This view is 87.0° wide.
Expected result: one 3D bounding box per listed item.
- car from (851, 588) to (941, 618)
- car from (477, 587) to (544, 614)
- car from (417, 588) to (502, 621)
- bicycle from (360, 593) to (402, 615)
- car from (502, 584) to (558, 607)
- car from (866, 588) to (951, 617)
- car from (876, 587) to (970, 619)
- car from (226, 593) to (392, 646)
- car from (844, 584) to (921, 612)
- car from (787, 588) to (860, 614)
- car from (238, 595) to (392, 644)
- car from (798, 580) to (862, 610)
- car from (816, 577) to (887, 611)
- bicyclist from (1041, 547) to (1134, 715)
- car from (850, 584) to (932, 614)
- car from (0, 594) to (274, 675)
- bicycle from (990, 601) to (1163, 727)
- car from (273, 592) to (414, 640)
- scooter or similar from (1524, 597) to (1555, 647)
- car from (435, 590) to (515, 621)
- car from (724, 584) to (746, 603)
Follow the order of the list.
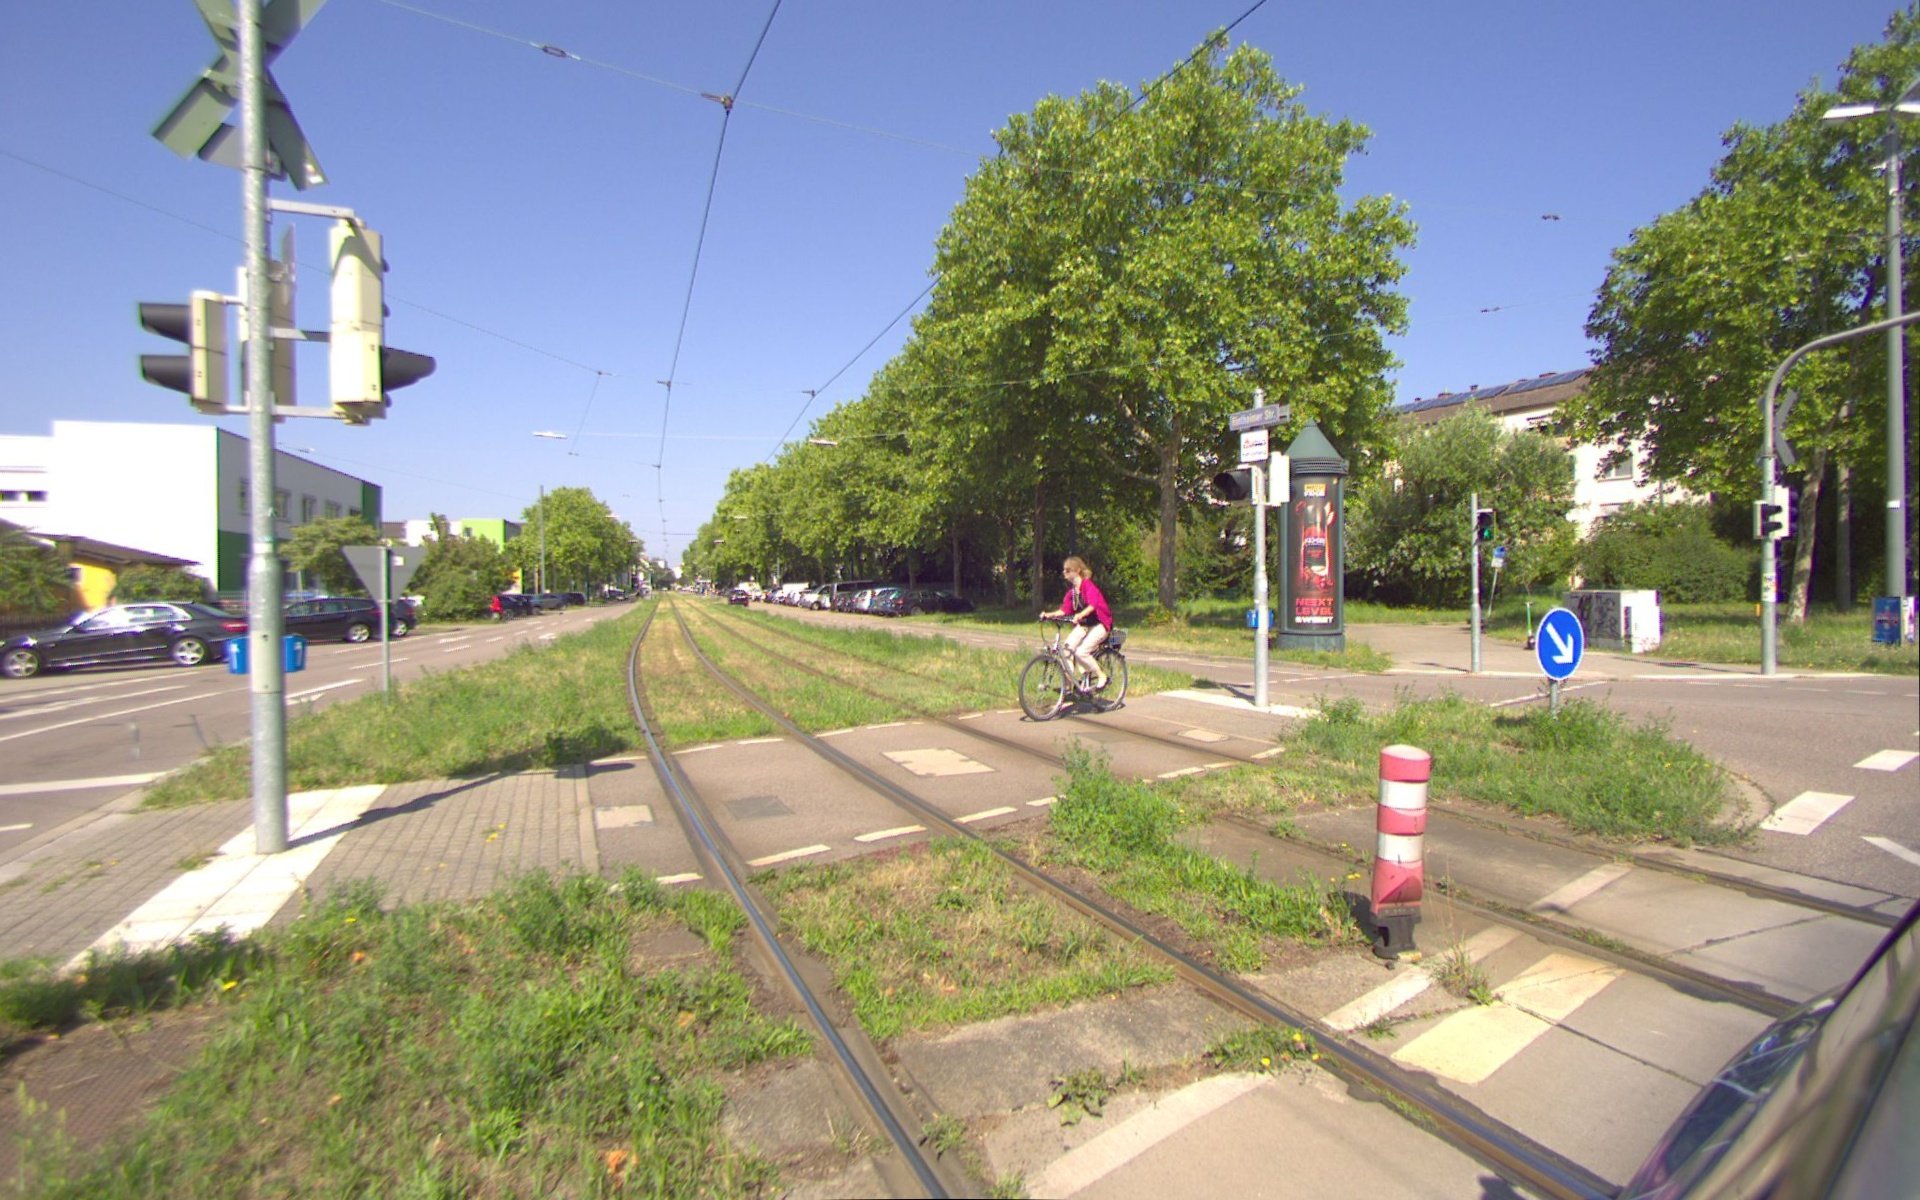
[{"bbox_3d":[-3.373,0.129,53.162,4.265,1.509,2.003,0,0,-26],"label":"car"},{"bbox_3d":[-32.289,0.049,72.694,1.993,1.817,3.936,-2,-1,44],"label":"car"},{"bbox_3d":[-28.574,0.254,57.799,1.993,1.817,3.936,-2,-1,44],"label":"car"},{"bbox_3d":[-29.102,0.192,50.874,1.089,1.059,2.131,0,1,-7],"label":"bicycle"},{"bbox_3d":[-36.514,-0.369,86.048,1.993,1.817,3.936,-2,-1,44],"label":"car"},{"bbox_3d":[-2.868,0.115,56.298,4.265,1.509,2.003,0,0,-26],"label":"car"},{"bbox_3d":[-1.840,0.118,50.737,4.265,1.509,2.003,-1,1,-26],"label":"car"},{"bbox_3d":[-20.781,0.583,32.391,4.137,1.517,2.137,-1,0,-44],"label":"car"},{"bbox_3d":[-4.697,-0.152,61.414,4.265,1.653,2.003,0,0,-26],"label":"car"},{"bbox_3d":[-8.786,0.029,65.101,4.265,1.653,2.003,0,0,-26],"label":"car"},{"bbox_3d":[-22.095,0.627,34.725,4.137,1.517,2.137,-1,0,-44],"label":"car"},{"bbox_3d":[-10.058,-0.404,78.228,4.495,2.237,2.003,0,0,-26],"label":"car"},{"bbox_3d":[-7.445,-0.416,69.454,4.493,2.318,2.004,0,0,-20],"label":"car"},{"bbox_3d":[1.440,0.330,11.434,0.796,1.809,0.701,0,0,-41],"label":"bicyclist"},{"bbox_3d":[-4.013,-0.062,58.748,4.265,1.654,2.003,0,-1,-26],"label":"car"},{"bbox_3d":[-18.244,0.699,22.103,5.013,1.517,2.147,-2,1,-22],"label":"car"},{"bbox_3d":[1.342,0.660,11.352,2.089,1.200,0.692,-3,2,-41],"label":"bicycle"},{"bbox_3d":[-22.932,0.551,37.723,4.137,1.640,2.137,-1,0,-44],"label":"car"},{"bbox_3d":[14.058,0.520,24.554,0.512,1.156,1.434,-2,0,25],"label":"scooter or similar"},{"bbox_3d":[-29.151,0.318,60.864,1.993,1.817,3.936,-2,-1,44],"label":"car"},{"bbox_3d":[-21.156,-0.580,95.150,1.756,1.676,4.007,0,-1,-16],"label":"car"}]
